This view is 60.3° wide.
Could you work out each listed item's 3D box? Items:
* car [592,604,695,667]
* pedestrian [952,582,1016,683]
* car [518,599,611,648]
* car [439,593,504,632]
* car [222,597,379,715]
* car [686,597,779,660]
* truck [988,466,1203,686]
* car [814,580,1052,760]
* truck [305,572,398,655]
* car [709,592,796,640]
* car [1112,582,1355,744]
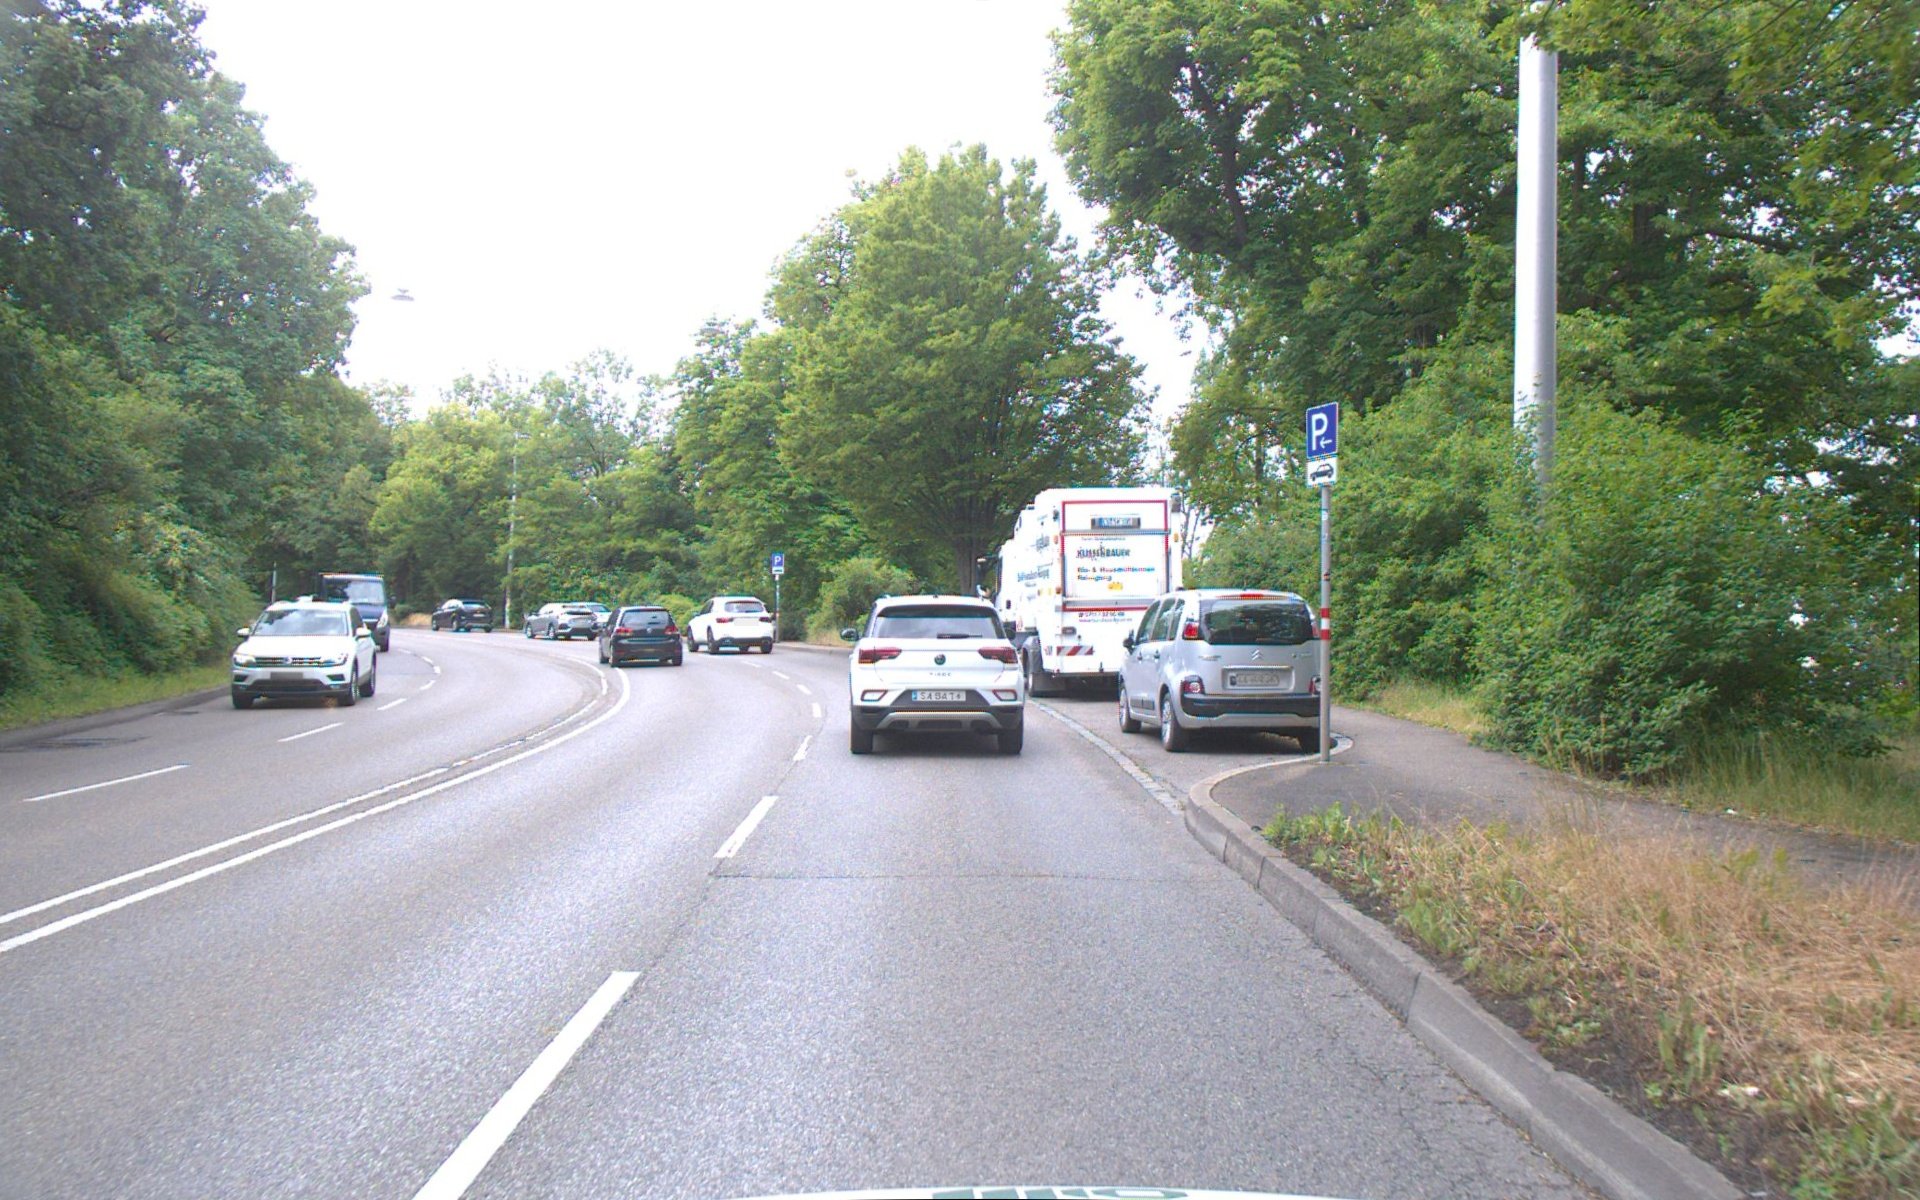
[{"bbox_3d":[-7.935,0.863,41.238,1.921,1.492,3.975,0,-1,-20],"label":"car"},{"bbox_3d":[0.474,0.652,33.586,0.900,1.862,0.984,12,-1,-1],"label":"pedestrian"},{"bbox_3d":[-15.627,0.914,65.240,1.982,1.747,3.942,4,-1,-40],"label":"car"},{"bbox_3d":[-22.490,0.556,76.074,1.750,1.635,3.954,3,-1,-33],"label":"car"},{"bbox_3d":[-10.906,0.893,27.633,1.825,1.724,4.418,-3,0,-15],"label":"car"},{"bbox_3d":[-6.808,0.797,49.175,1.826,1.732,3.973,-1,1,-22],"label":"car"},{"bbox_3d":[2.061,-0.329,28.003,2.434,3.237,7.220,0,0,-5],"label":"truck"},{"bbox_3d":[-0.420,0.686,17.752,1.964,1.624,3.992,3,-1,-9],"label":"car"},{"bbox_3d":[-19.126,0.399,51.794,2.134,2.412,6.623,0,0,-26],"label":"truck"},{"bbox_3d":[-7.655,0.571,60.680,1.738,1.681,4.340,0,0,-28],"label":"car"},{"bbox_3d":[2.872,0.636,18.235,1.767,1.551,3.997,-1,-1,-4],"label":"car"}]
